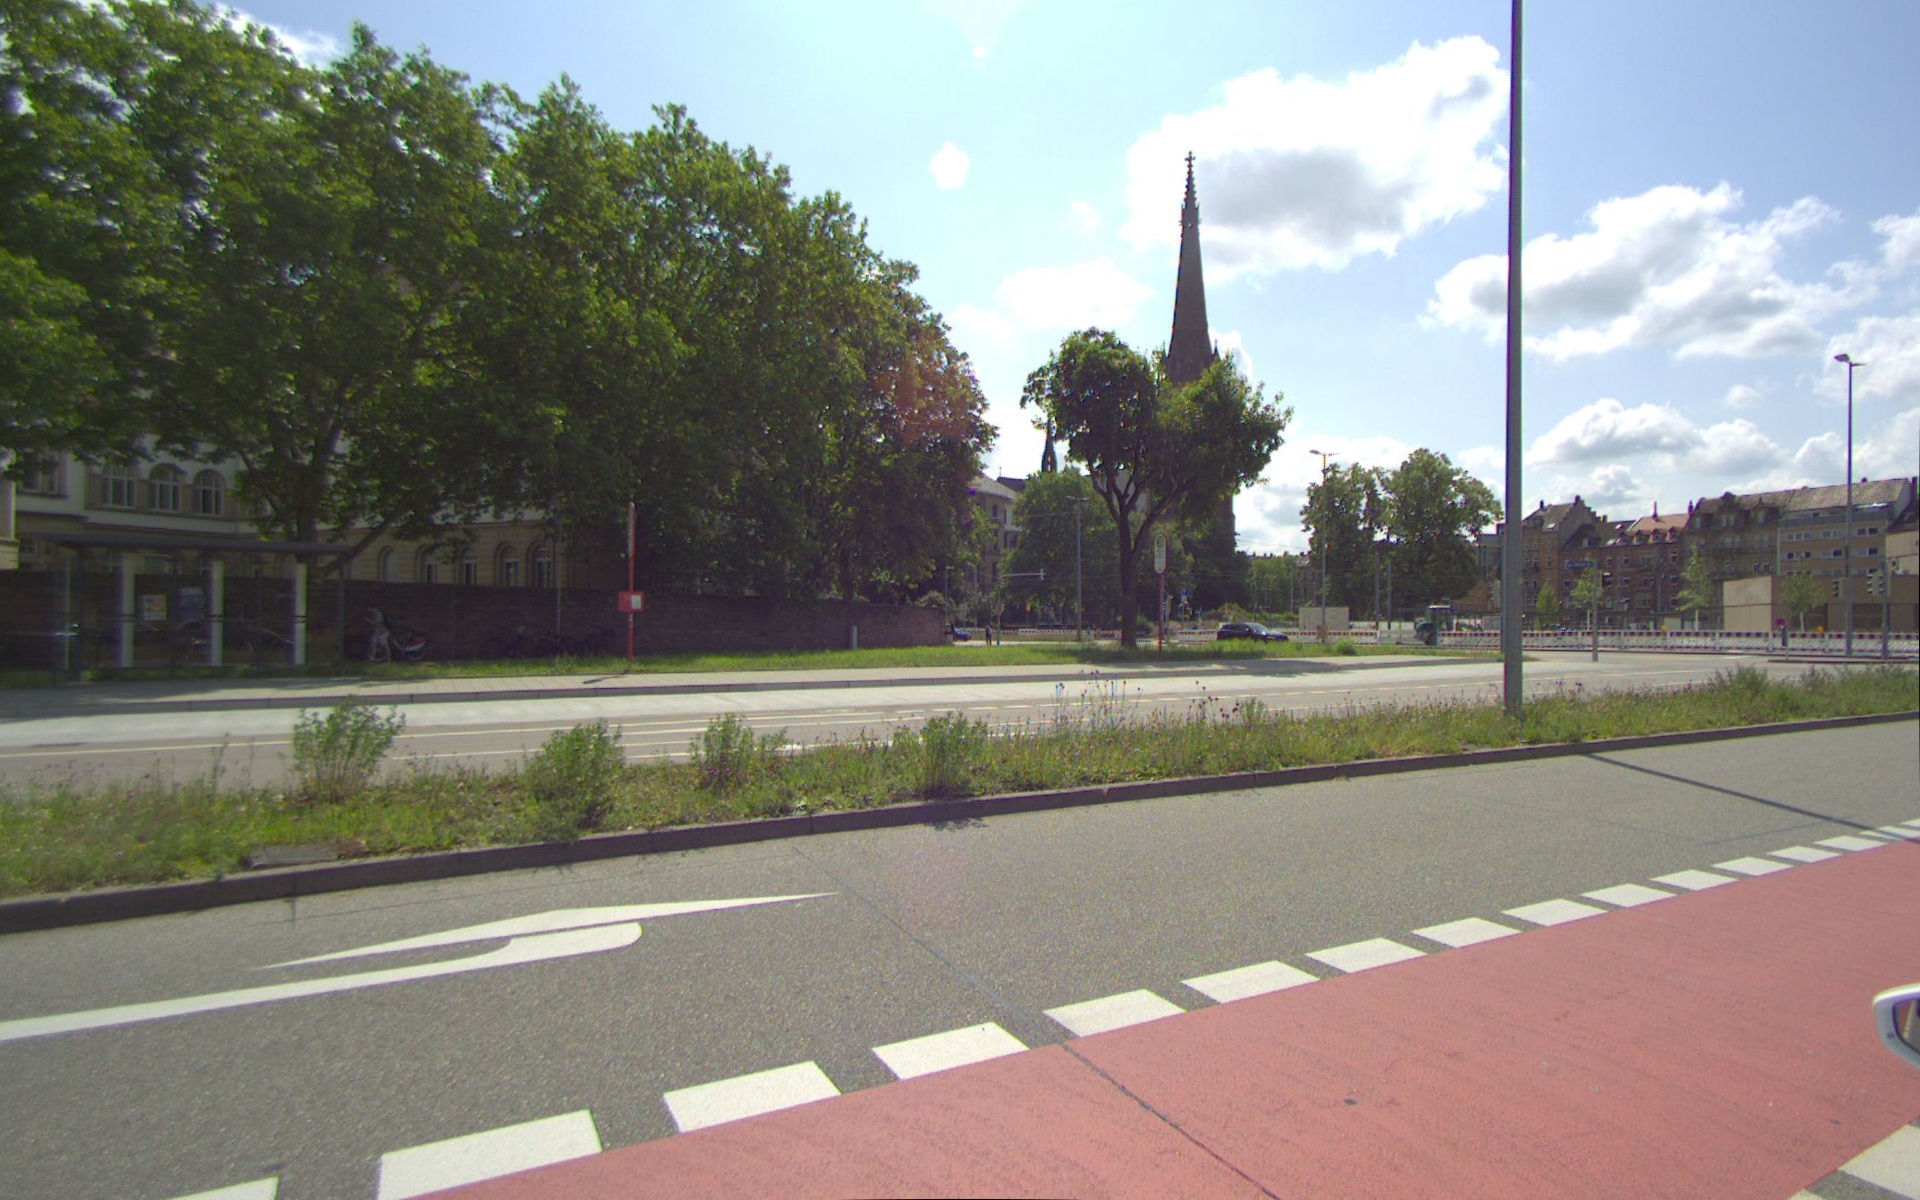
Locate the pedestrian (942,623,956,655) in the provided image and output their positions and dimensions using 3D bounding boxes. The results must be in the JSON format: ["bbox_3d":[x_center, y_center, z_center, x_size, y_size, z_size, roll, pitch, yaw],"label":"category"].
[{"bbox_3d":[-0.606,2.106,54.137,0.479,1.718,0.679,2,0,21],"label":"pedestrian"}]

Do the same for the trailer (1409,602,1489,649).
[{"bbox_3d":[32.361,1.663,66.533,4.277,2.952,2.001,2,0,7],"label":"trailer"}]

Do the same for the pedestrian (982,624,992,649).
[{"bbox_3d":[2.029,2.701,74.765,0.561,1.844,0.436,2,0,43],"label":"pedestrian"}]

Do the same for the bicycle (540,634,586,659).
[{"bbox_3d":[-13.233,1.550,33.479,0.391,0.799,1.462,0,-1,33],"label":"bicycle"}]

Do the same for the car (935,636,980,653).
[{"bbox_3d":[-0.270,4.122,93.008,1.979,1.505,4.625,1,-1,-34],"label":"car"}]

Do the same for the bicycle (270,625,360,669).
[{"bbox_3d":[-17.470,1.253,27.260,0.391,1.152,2.032,0,-1,36],"label":"bicycle"}]

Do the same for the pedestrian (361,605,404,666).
[{"bbox_3d":[-15.990,0.973,27.806,0.710,1.632,0.779,0,-1,31],"label":"pedestrian"}]

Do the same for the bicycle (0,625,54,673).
[{"bbox_3d":[-21.265,1.081,22.095,0.392,1.057,1.948,0,-1,40],"label":"bicycle"}]

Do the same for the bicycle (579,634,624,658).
[{"bbox_3d":[-12.387,1.573,34.738,0.391,0.799,1.540,0,-1,33],"label":"bicycle"}]

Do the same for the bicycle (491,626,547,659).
[{"bbox_3d":[-14.094,1.343,32.146,0.391,1.043,1.683,0,-1,33],"label":"bicycle"}]

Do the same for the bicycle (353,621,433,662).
[{"bbox_3d":[-16.314,1.178,28.936,0.391,1.152,2.032,0,-1,36],"label":"bicycle"}]

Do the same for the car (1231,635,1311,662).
[{"bbox_3d":[18.524,2.880,60.074,1.976,1.505,4.475,1,-1,-30],"label":"car"}]

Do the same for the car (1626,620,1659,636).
[{"bbox_3d":[113.457,4.653,166.975,1.972,2.374,4.097,2,0,-23],"label":"car"}]
